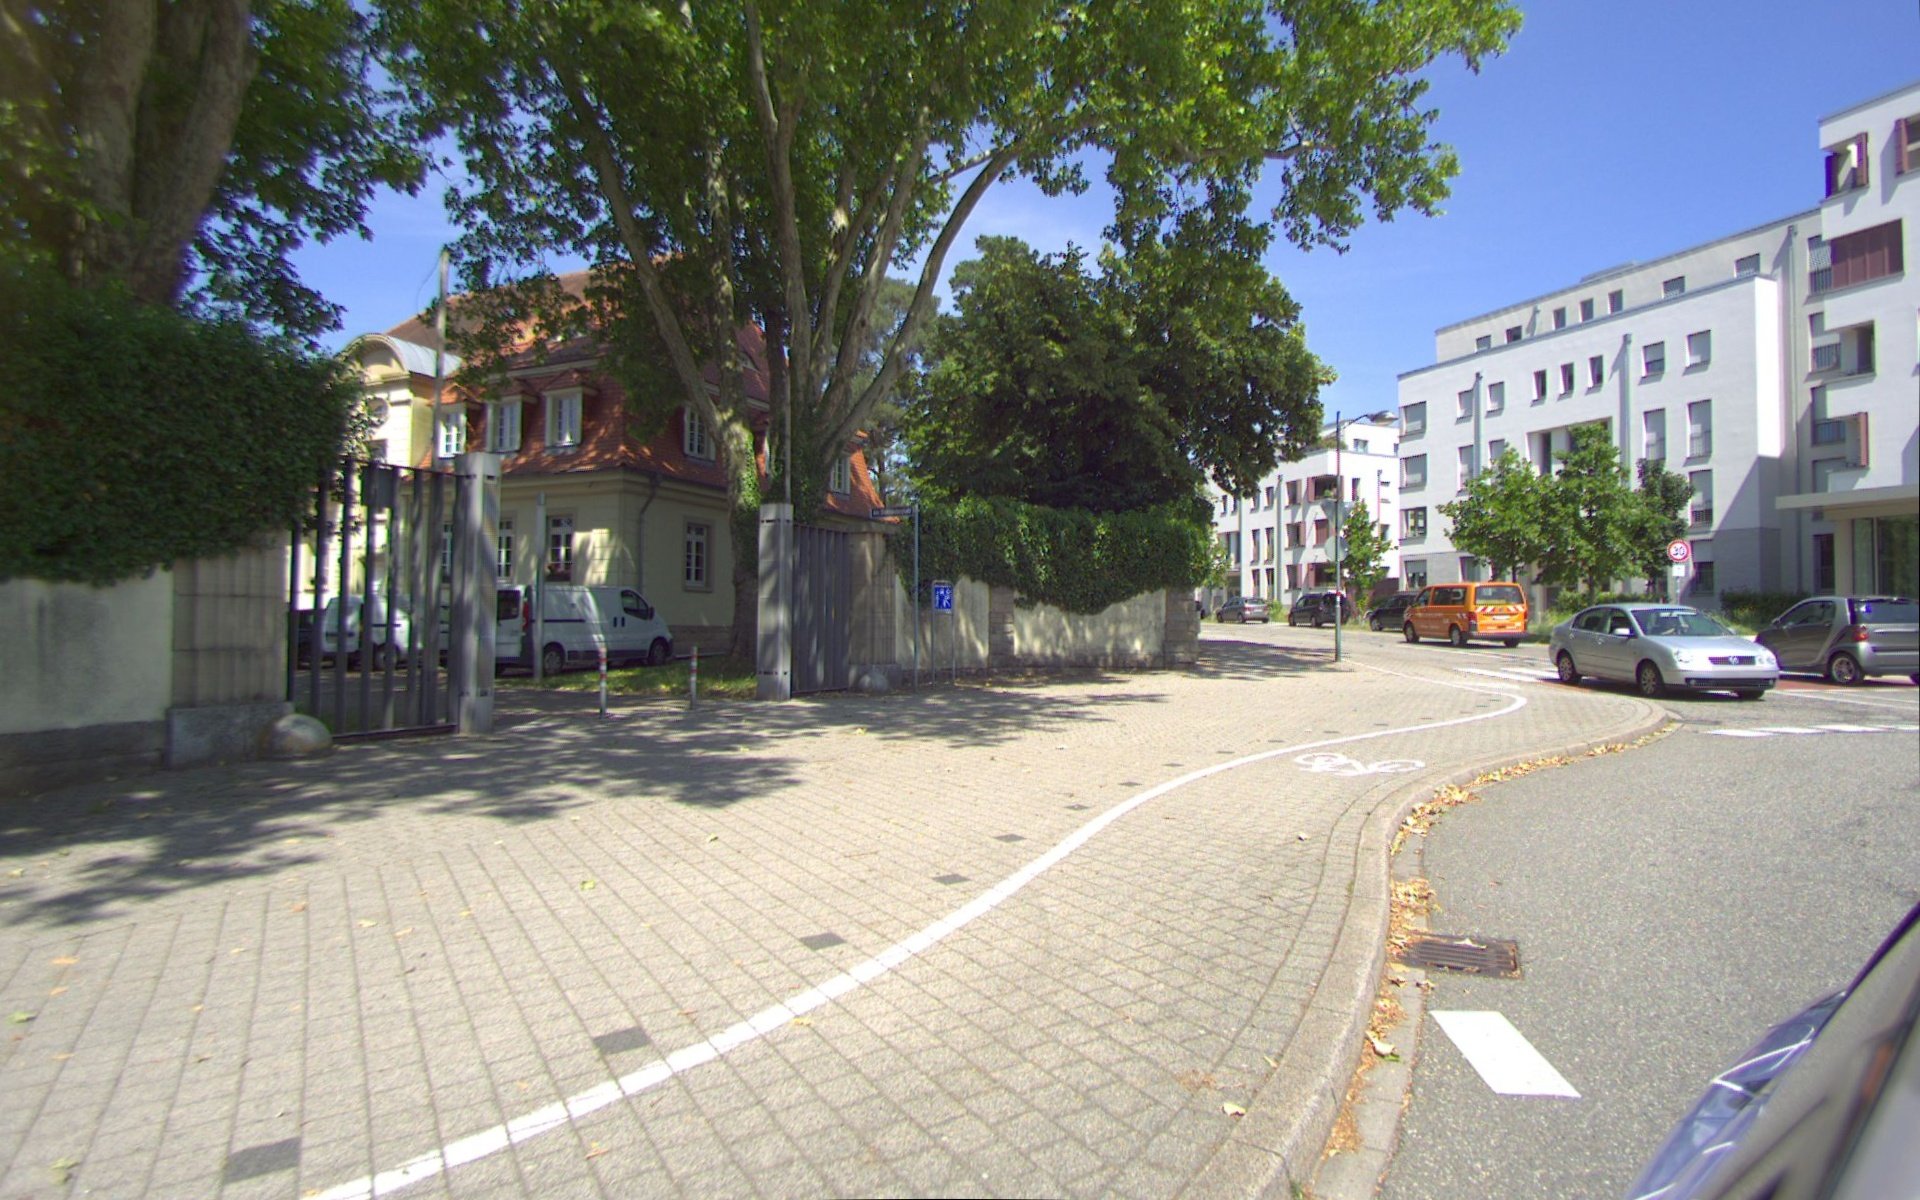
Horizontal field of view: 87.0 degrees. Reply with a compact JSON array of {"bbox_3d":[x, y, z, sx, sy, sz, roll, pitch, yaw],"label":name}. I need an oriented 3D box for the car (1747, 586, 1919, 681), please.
[{"bbox_3d":[15.899,0.546,18.033,1.540,1.549,2.789,-1,0,0],"label":"car"}]

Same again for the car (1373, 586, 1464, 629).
[{"bbox_3d":[19.065,0.287,42.272,1.665,1.658,4.025,-1,0,-6],"label":"car"}]

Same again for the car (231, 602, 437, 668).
[{"bbox_3d":[-15.994,0.837,26.108,1.791,1.503,4.297,-1,0,24],"label":"car"}]

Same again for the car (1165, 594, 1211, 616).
[{"bbox_3d":[15.465,0.312,68.894,1.671,1.431,3.634,-1,0,-12],"label":"car"}]

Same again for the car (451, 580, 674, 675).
[{"bbox_3d":[-8.845,0.546,23.058,1.953,1.910,4.828,-1,0,22],"label":"car"}]

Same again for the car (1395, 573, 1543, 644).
[{"bbox_3d":[15.751,0.237,31.666,1.912,1.984,5.022,-2,0,-2],"label":"car"}]

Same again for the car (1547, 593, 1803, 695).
[{"bbox_3d":[11.577,0.634,16.755,1.579,1.470,3.995,-1,0,4],"label":"car"}]

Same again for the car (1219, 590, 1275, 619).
[{"bbox_3d":[17.142,0.252,60.556,1.754,1.610,3.634,-1,0,-11],"label":"car"}]

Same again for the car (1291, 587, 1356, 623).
[{"bbox_3d":[18.305,0.221,51.114,1.665,1.722,3.631,-1,0,-6],"label":"car"}]

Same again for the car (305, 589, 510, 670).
[{"bbox_3d":[-13.568,0.657,25.148,1.820,1.834,4.299,-1,0,22],"label":"car"}]
